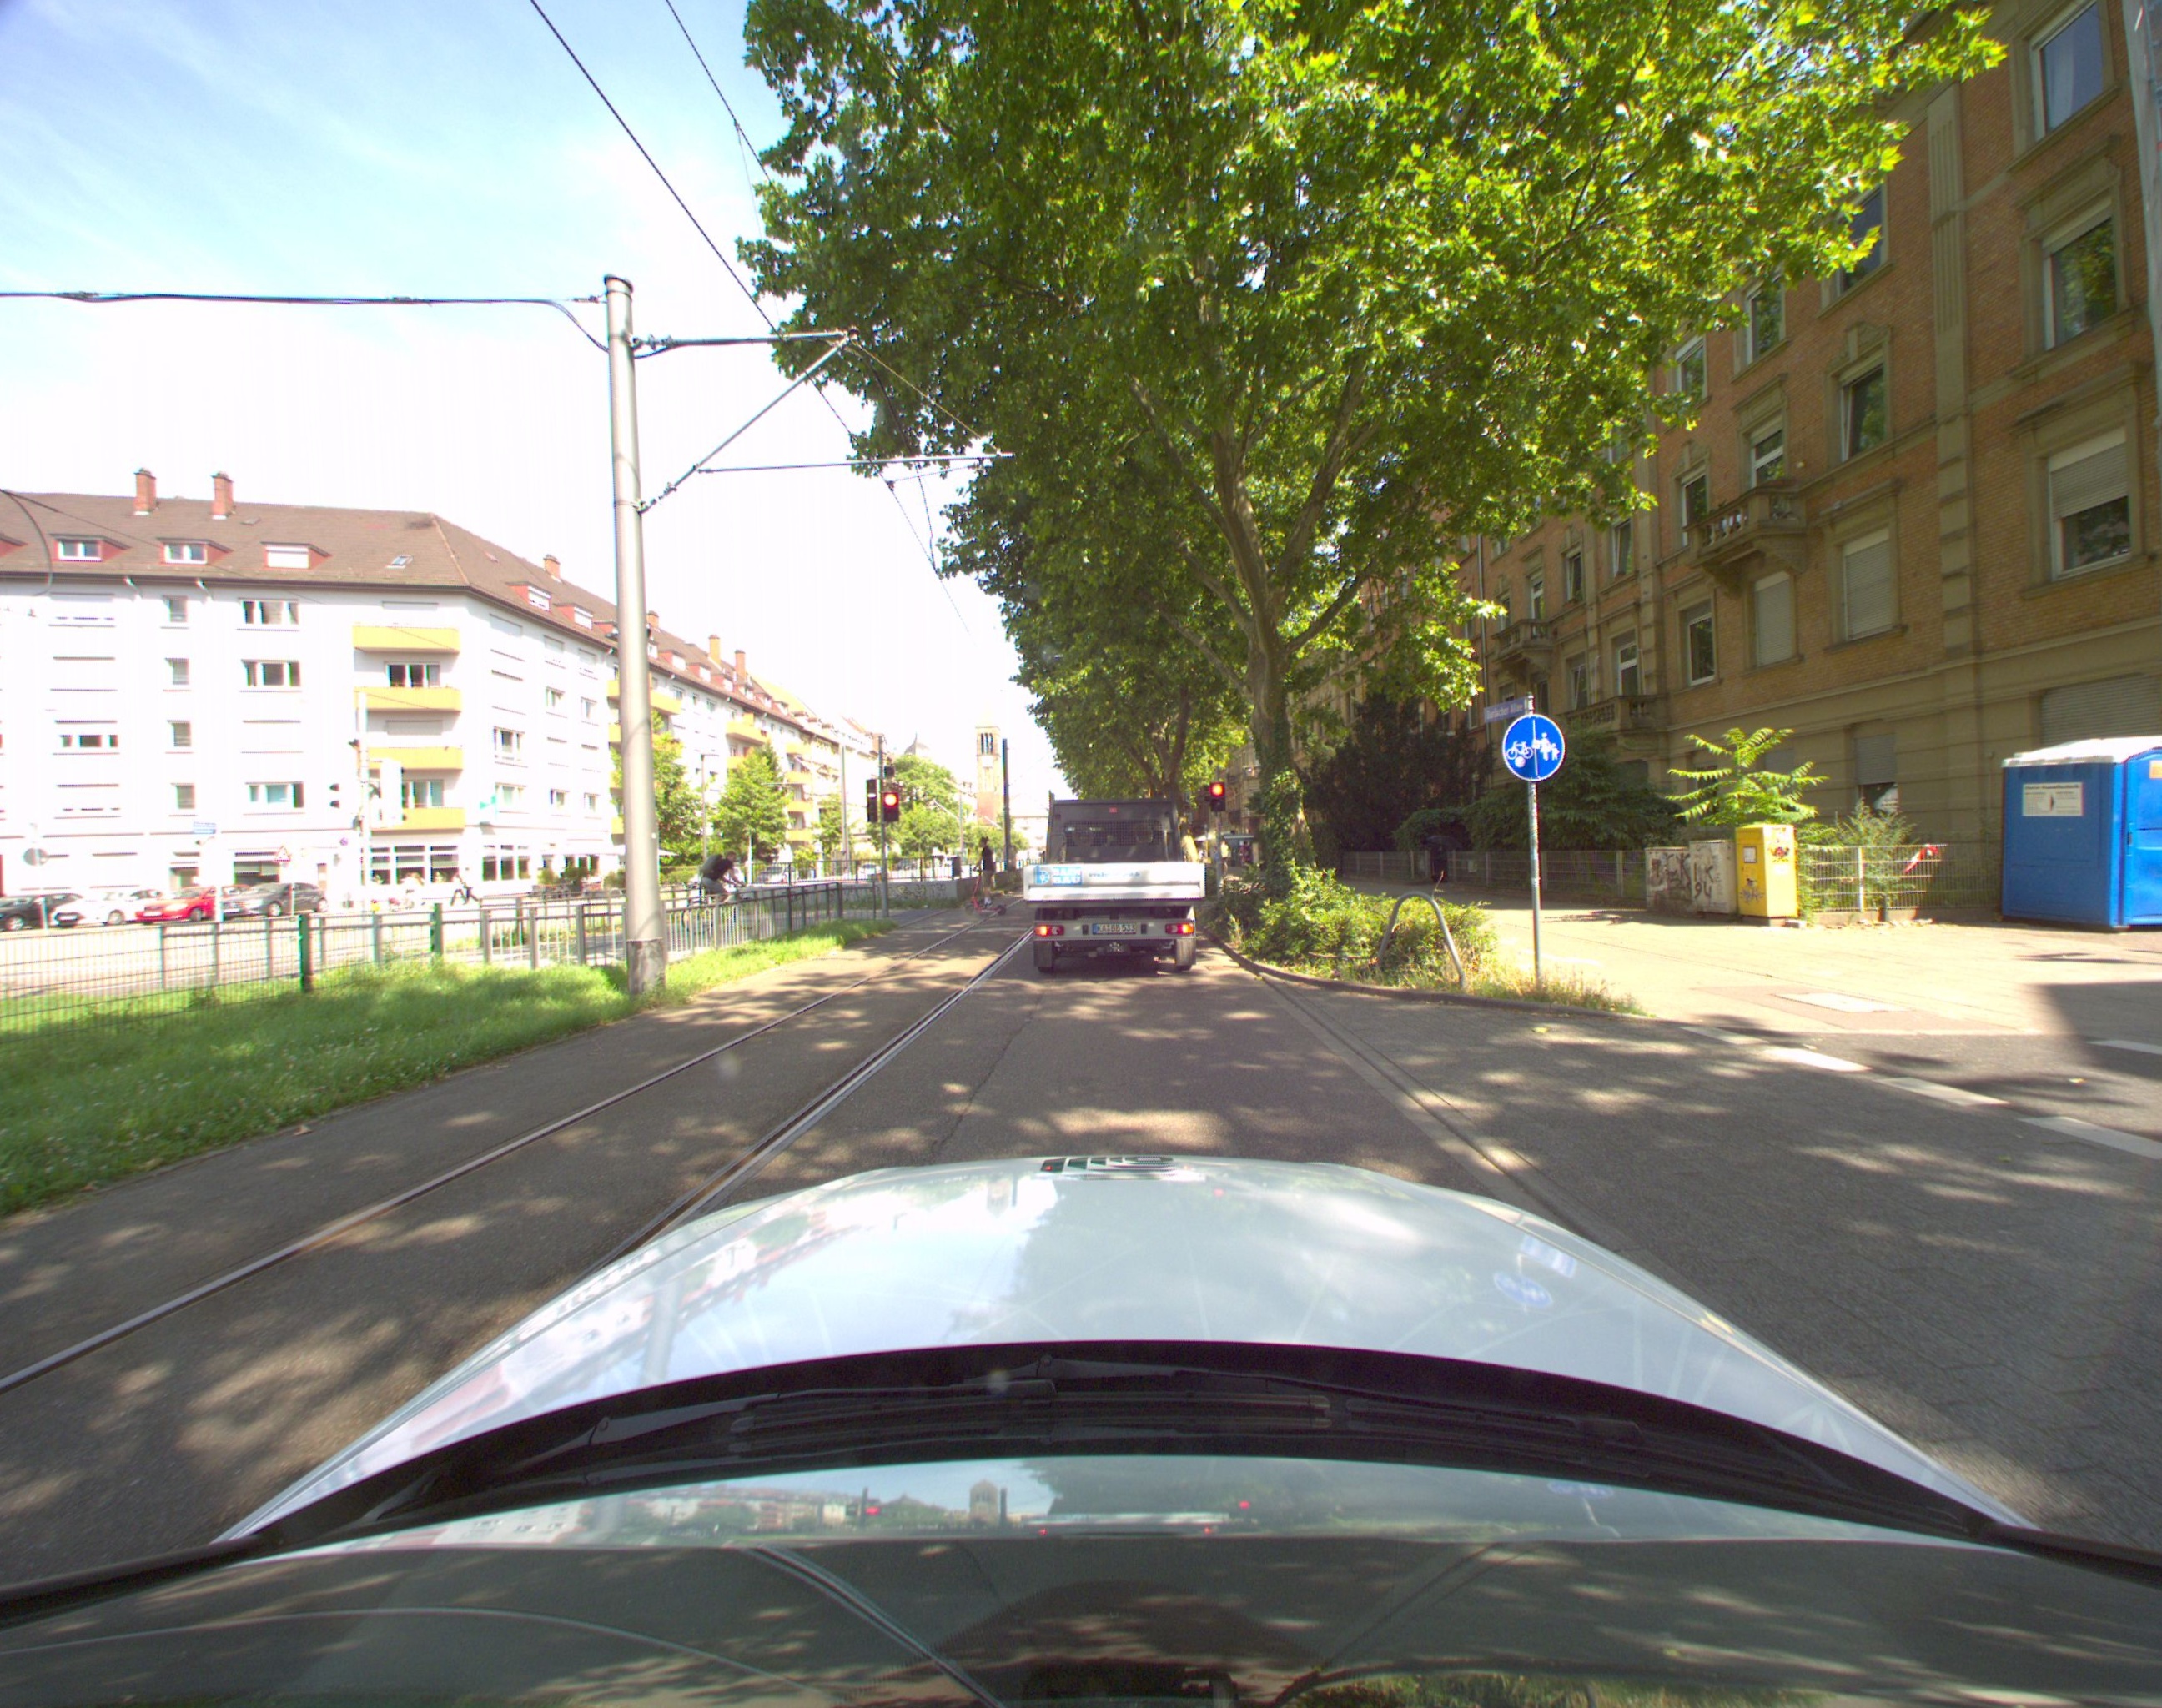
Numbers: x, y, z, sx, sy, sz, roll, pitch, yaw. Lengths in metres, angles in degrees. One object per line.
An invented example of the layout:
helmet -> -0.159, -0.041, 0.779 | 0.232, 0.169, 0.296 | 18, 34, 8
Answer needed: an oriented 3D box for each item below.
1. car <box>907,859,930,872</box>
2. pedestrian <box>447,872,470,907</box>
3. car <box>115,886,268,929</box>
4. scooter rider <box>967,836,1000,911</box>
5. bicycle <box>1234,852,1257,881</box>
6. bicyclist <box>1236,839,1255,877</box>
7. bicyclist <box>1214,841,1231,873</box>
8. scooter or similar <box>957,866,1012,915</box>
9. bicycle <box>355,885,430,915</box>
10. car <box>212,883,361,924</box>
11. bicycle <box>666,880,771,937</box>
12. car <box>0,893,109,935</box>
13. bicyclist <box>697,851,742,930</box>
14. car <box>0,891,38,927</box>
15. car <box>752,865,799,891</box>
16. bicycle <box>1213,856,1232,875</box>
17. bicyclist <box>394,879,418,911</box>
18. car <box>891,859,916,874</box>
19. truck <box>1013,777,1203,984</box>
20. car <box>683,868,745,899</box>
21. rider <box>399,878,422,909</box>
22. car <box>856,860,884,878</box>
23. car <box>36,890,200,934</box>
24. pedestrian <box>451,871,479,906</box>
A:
car -> -19.340, 1.373, 96.987 | 1.764, 1.498, 4.000 | -2, 0, 0
pedestrian -> -28.776, 1.617, 37.659 | 0.690, 1.572, 0.542 | -2, 0, -22
car -> -36.431, 2.136, 33.531 | 1.930, 1.406, 4.158 | -2, 0, -6
scooter rider -> -2.489, 0.487, 20.864 | 0.663, 1.867, 0.665 | -2, 0, 5
bicycle -> 6.857, 0.498, 33.950 | 0.563, 1.112, 2.312 | -2, 0, 3
bicyclist -> 6.856, 0.168, 33.989 | 0.635, 1.573, 0.580 | -2, 0, 3
bicyclist -> 6.998, 0.156, 40.358 | 0.678, 1.563, 0.777 | -2, 0, 2
scooter or similar -> -2.466, 0.928, 20.860 | 1.260, 1.204, 0.658 | -2, 0, 4
bicycle -> -30.010, 1.975, 35.573 | 0.908, 1.137, 2.807 | -2, 0, -2
car -> -33.073, 2.014, 34.107 | 1.830, 1.376, 4.637 | -2, 0, -4
bicycle -> -7.652, 1.132, 17.249 | 1.935, 1.049, 0.527 | -2, 0, -37
car -> -41.768, 2.389, 32.154 | 1.930, 1.406, 4.158 | -2, 0, -6
bicyclist -> -7.661, 0.763, 17.264 | 0.698, 1.623, 0.617 | -2, 0, -38
car -> -44.547, 2.271, 32.001 | 1.930, 1.406, 4.158 | -2, 0, -6
car -> -20.243, 1.587, 54.136 | 1.767, 1.498, 3.994 | -4, 0, -4
bicycle -> 7.016, 0.572, 40.516 | 0.672, 0.881, 2.165 | -2, 0, 3
bicyclist -> -30.954, 1.859, 37.341 | 0.624, 1.423, 0.587 | -2, 0, -15
car -> -19.414, 1.377, 89.147 | 1.764, 1.498, 4.000 | -2, 0, 0
truck -> 0.404, 0.289, 11.358 | 2.130, 2.319, 4.404 | 0, 0, 3
car -> -20.454, 1.593, 45.555 | 1.767, 1.498, 3.994 | -4, 0, -4
rider -> -31.253, 1.832, 37.960 | 0.624, 1.423, 0.587 | -2, 0, -15
car -> -19.532, 1.380, 75.502 | 1.767, 1.498, 3.994 | -2, 0, -4
car -> -39.215, 2.319, 33.360 | 1.930, 1.406, 4.158 | -2, 0, -6
pedestrian -> -28.960, 1.615, 38.269 | 0.861, 1.572, 0.685 | -2, 0, -22
